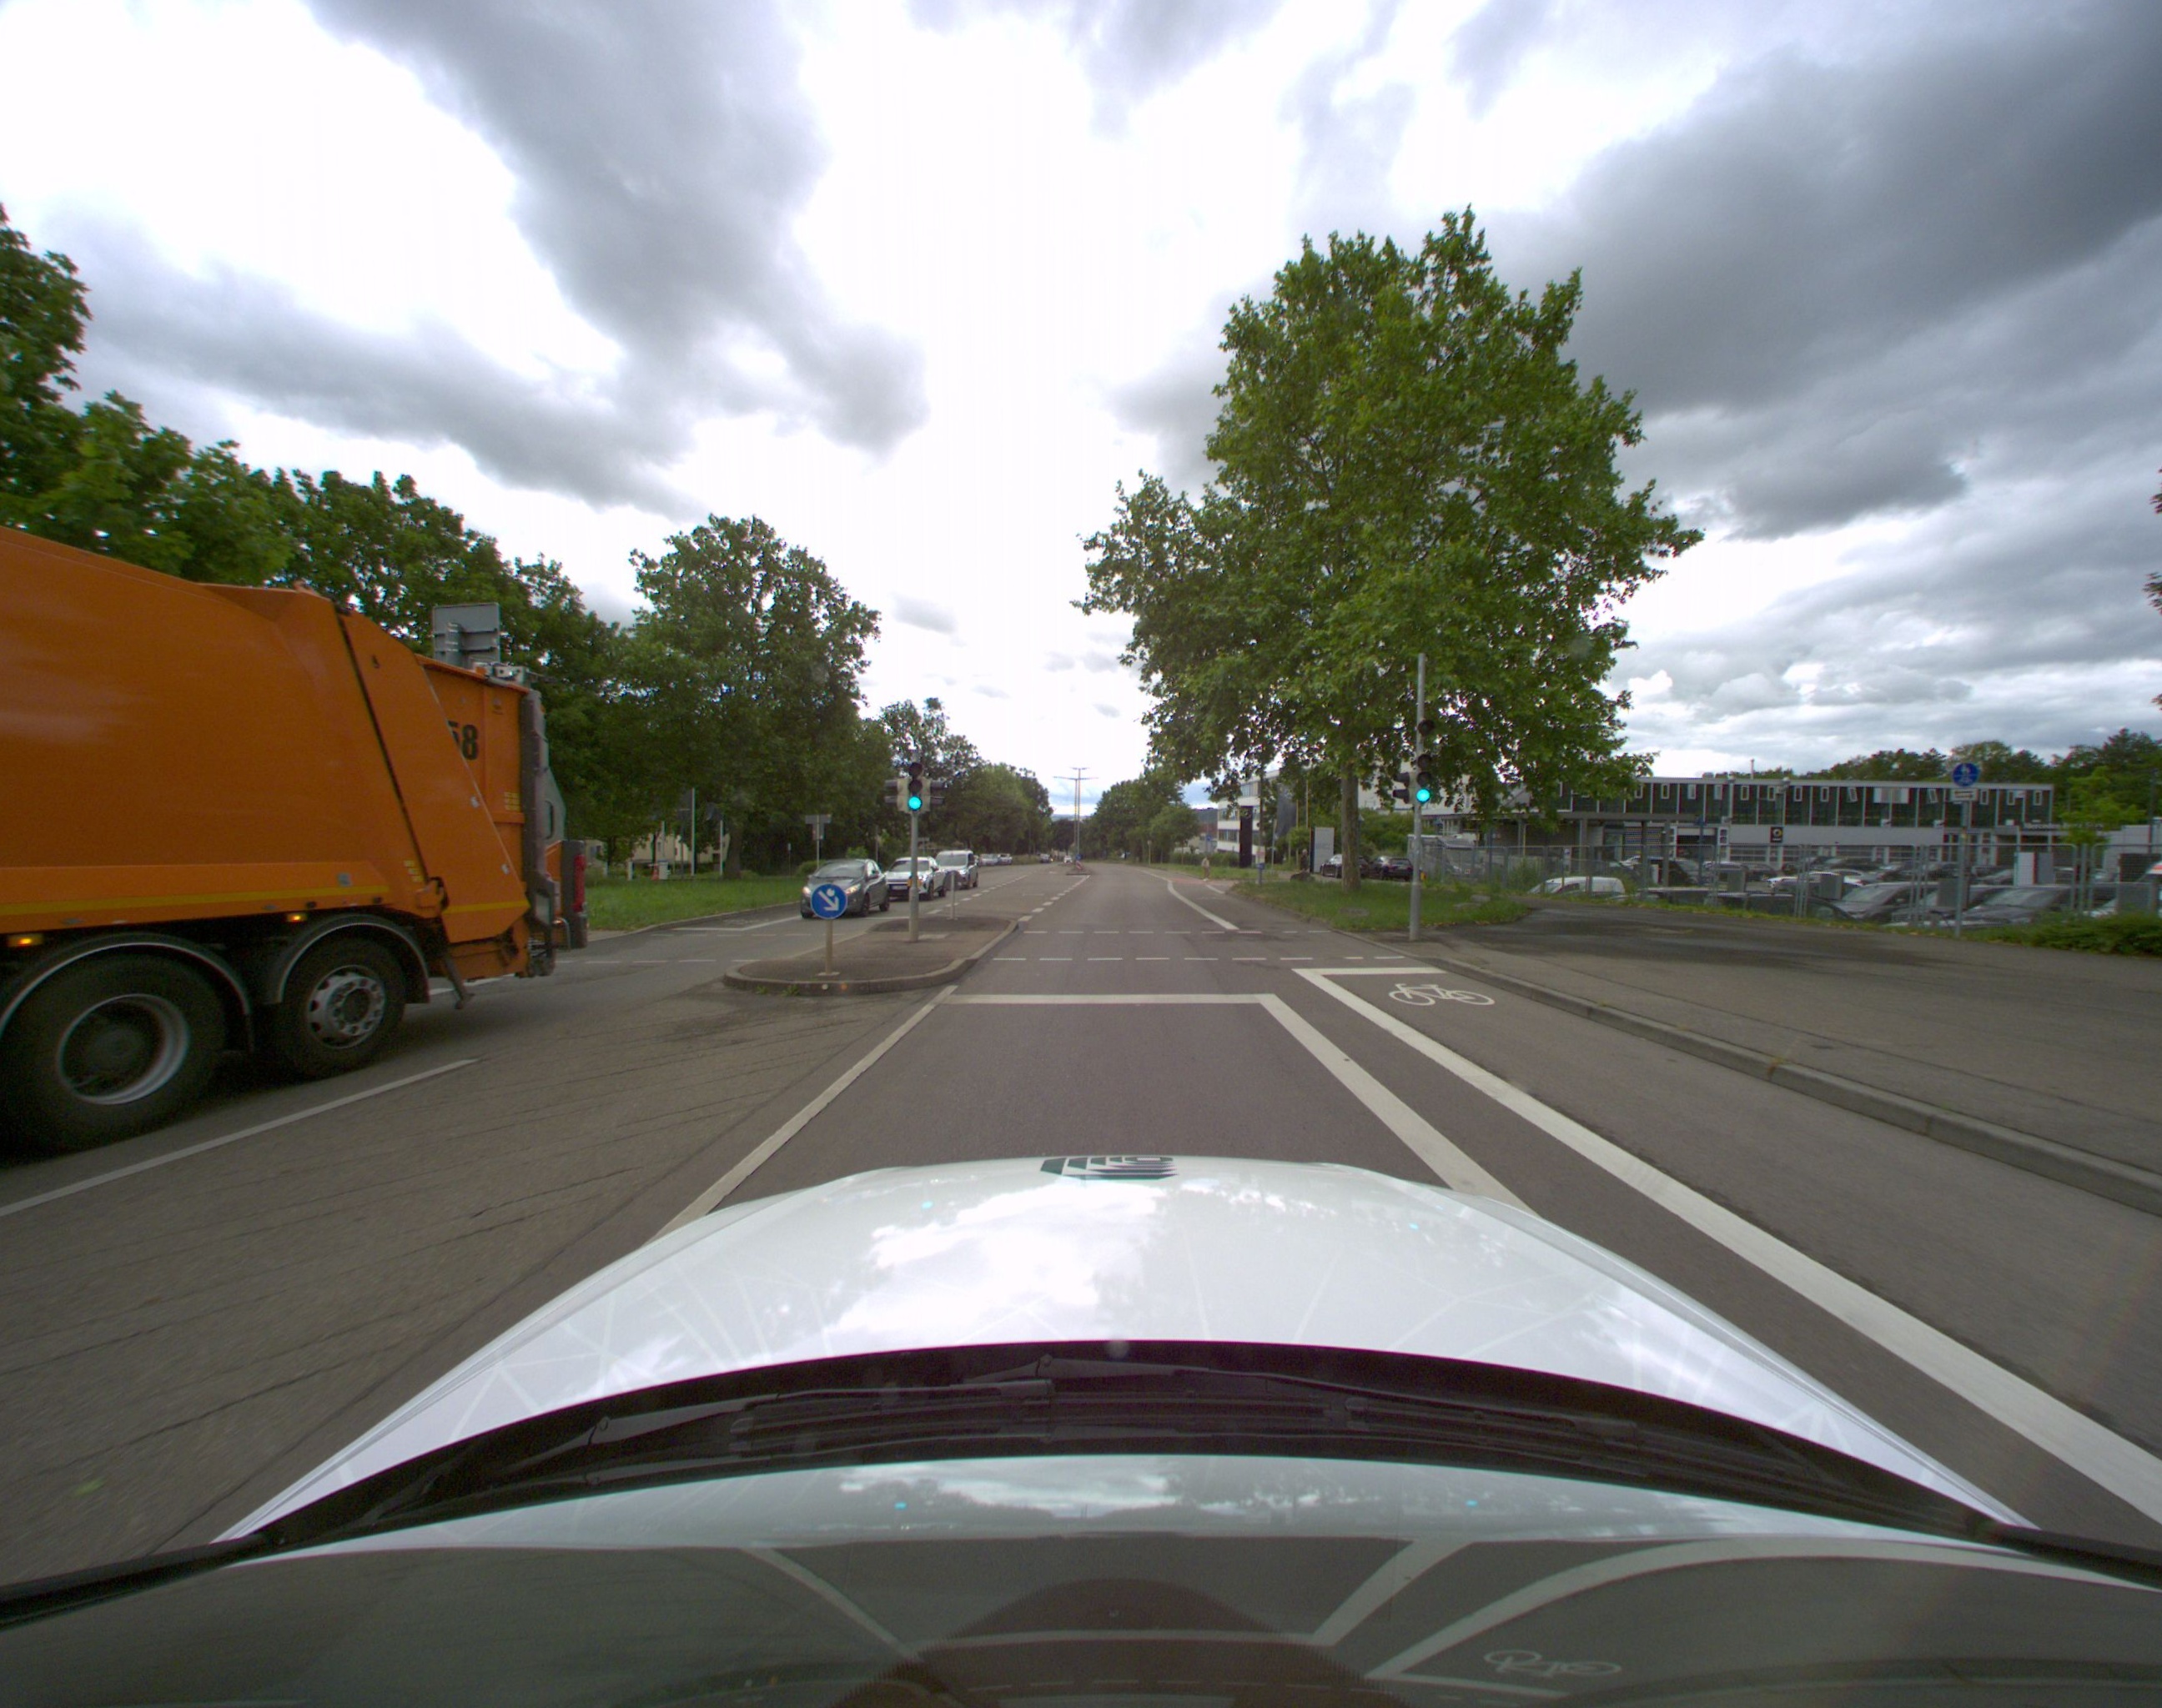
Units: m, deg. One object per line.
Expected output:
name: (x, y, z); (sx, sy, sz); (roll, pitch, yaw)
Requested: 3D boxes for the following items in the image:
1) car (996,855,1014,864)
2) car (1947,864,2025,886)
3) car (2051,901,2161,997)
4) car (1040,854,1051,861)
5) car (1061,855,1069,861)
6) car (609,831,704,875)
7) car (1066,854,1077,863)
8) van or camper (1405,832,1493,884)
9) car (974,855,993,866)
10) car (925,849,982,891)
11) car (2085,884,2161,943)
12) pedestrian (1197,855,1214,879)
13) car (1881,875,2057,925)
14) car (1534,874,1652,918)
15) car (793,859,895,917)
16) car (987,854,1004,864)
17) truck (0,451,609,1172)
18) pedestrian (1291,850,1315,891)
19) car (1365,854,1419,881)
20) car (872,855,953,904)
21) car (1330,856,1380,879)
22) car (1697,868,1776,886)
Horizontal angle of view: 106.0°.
car: (-10.893, 0.795, 116.496); (1.663, 1.304, 4.008); (1, 0, 7)
car: (65.048, 1.515, 58.551); (3.621, 1.528, 1.625); (1, 0, 6)
car: (21.187, 1.751, 15.214); (3.979, 1.618, 1.997); (1, 0, -4)
car: (-6.688, 0.600, 154.188); (1.765, 1.304, 4.000); (1, 0, 1)
car: (-3.482, 0.852, 181.042); (1.606, 1.304, 4.000); (1, 0, 1)
car: (-26.841, -0.066, 51.624); (4.956, 2.663, 1.998); (0, 0, -4)
car: (-1.409, 0.734, 126.530); (1.606, 1.304, 4.000); (1, 0, 1)
van or camper: (21.557, 0.209, 48.106); (1.959, 2.868, 6.917); (0, 0, -1)
car: (-12.759, 0.840, 106.126); (1.677, 1.304, 3.976); (1, 0, -18)
car: (-5.864, 0.684, 37.962); (1.840, 1.803, 4.650); (-2, 0, 0)
car: (31.484, 1.689, 23.081); (3.982, 1.552, 1.996); (1, 0, -6)
pedestrian: (7.651, 0.770, 49.968); (0.791, 1.463, 0.744); (0, 0, -18)
car: (29.852, 1.520, 27.469); (3.979, 1.552, 1.997); (1, 0, -4)
car: (20.298, 1.658, 32.363); (3.726, 1.618, 1.689); (1, 0, -4)
car: (-6.134, 0.835, 21.484); (1.542, 1.331, 3.654); (-2, 0, 1)
car: (-11.677, 0.633, 111.506); (1.666, 1.304, 4.003); (1, 0, 3)
truck: (-6.578, -0.211, 3.774); (2.696, 3.487, 9.998); (0, 0, 2)
pedestrian: (9.930, 0.720, 36.415); (0.739, 1.801, 0.867); (0, 0, 36)
car: (18.729, 0.775, 49.226); (1.704, 1.508, 4.346); (2, 0, 2)
car: (-5.916, 0.834, 29.158); (1.840, 1.520, 4.815); (-2, 0, 0)
car: (16.412, 0.782, 49.022); (1.704, 1.354, 4.346); (0, 0, 2)
car: (39.064, 1.350, 48.568); (3.627, 0.978, 1.413); (1, 0, 0)
